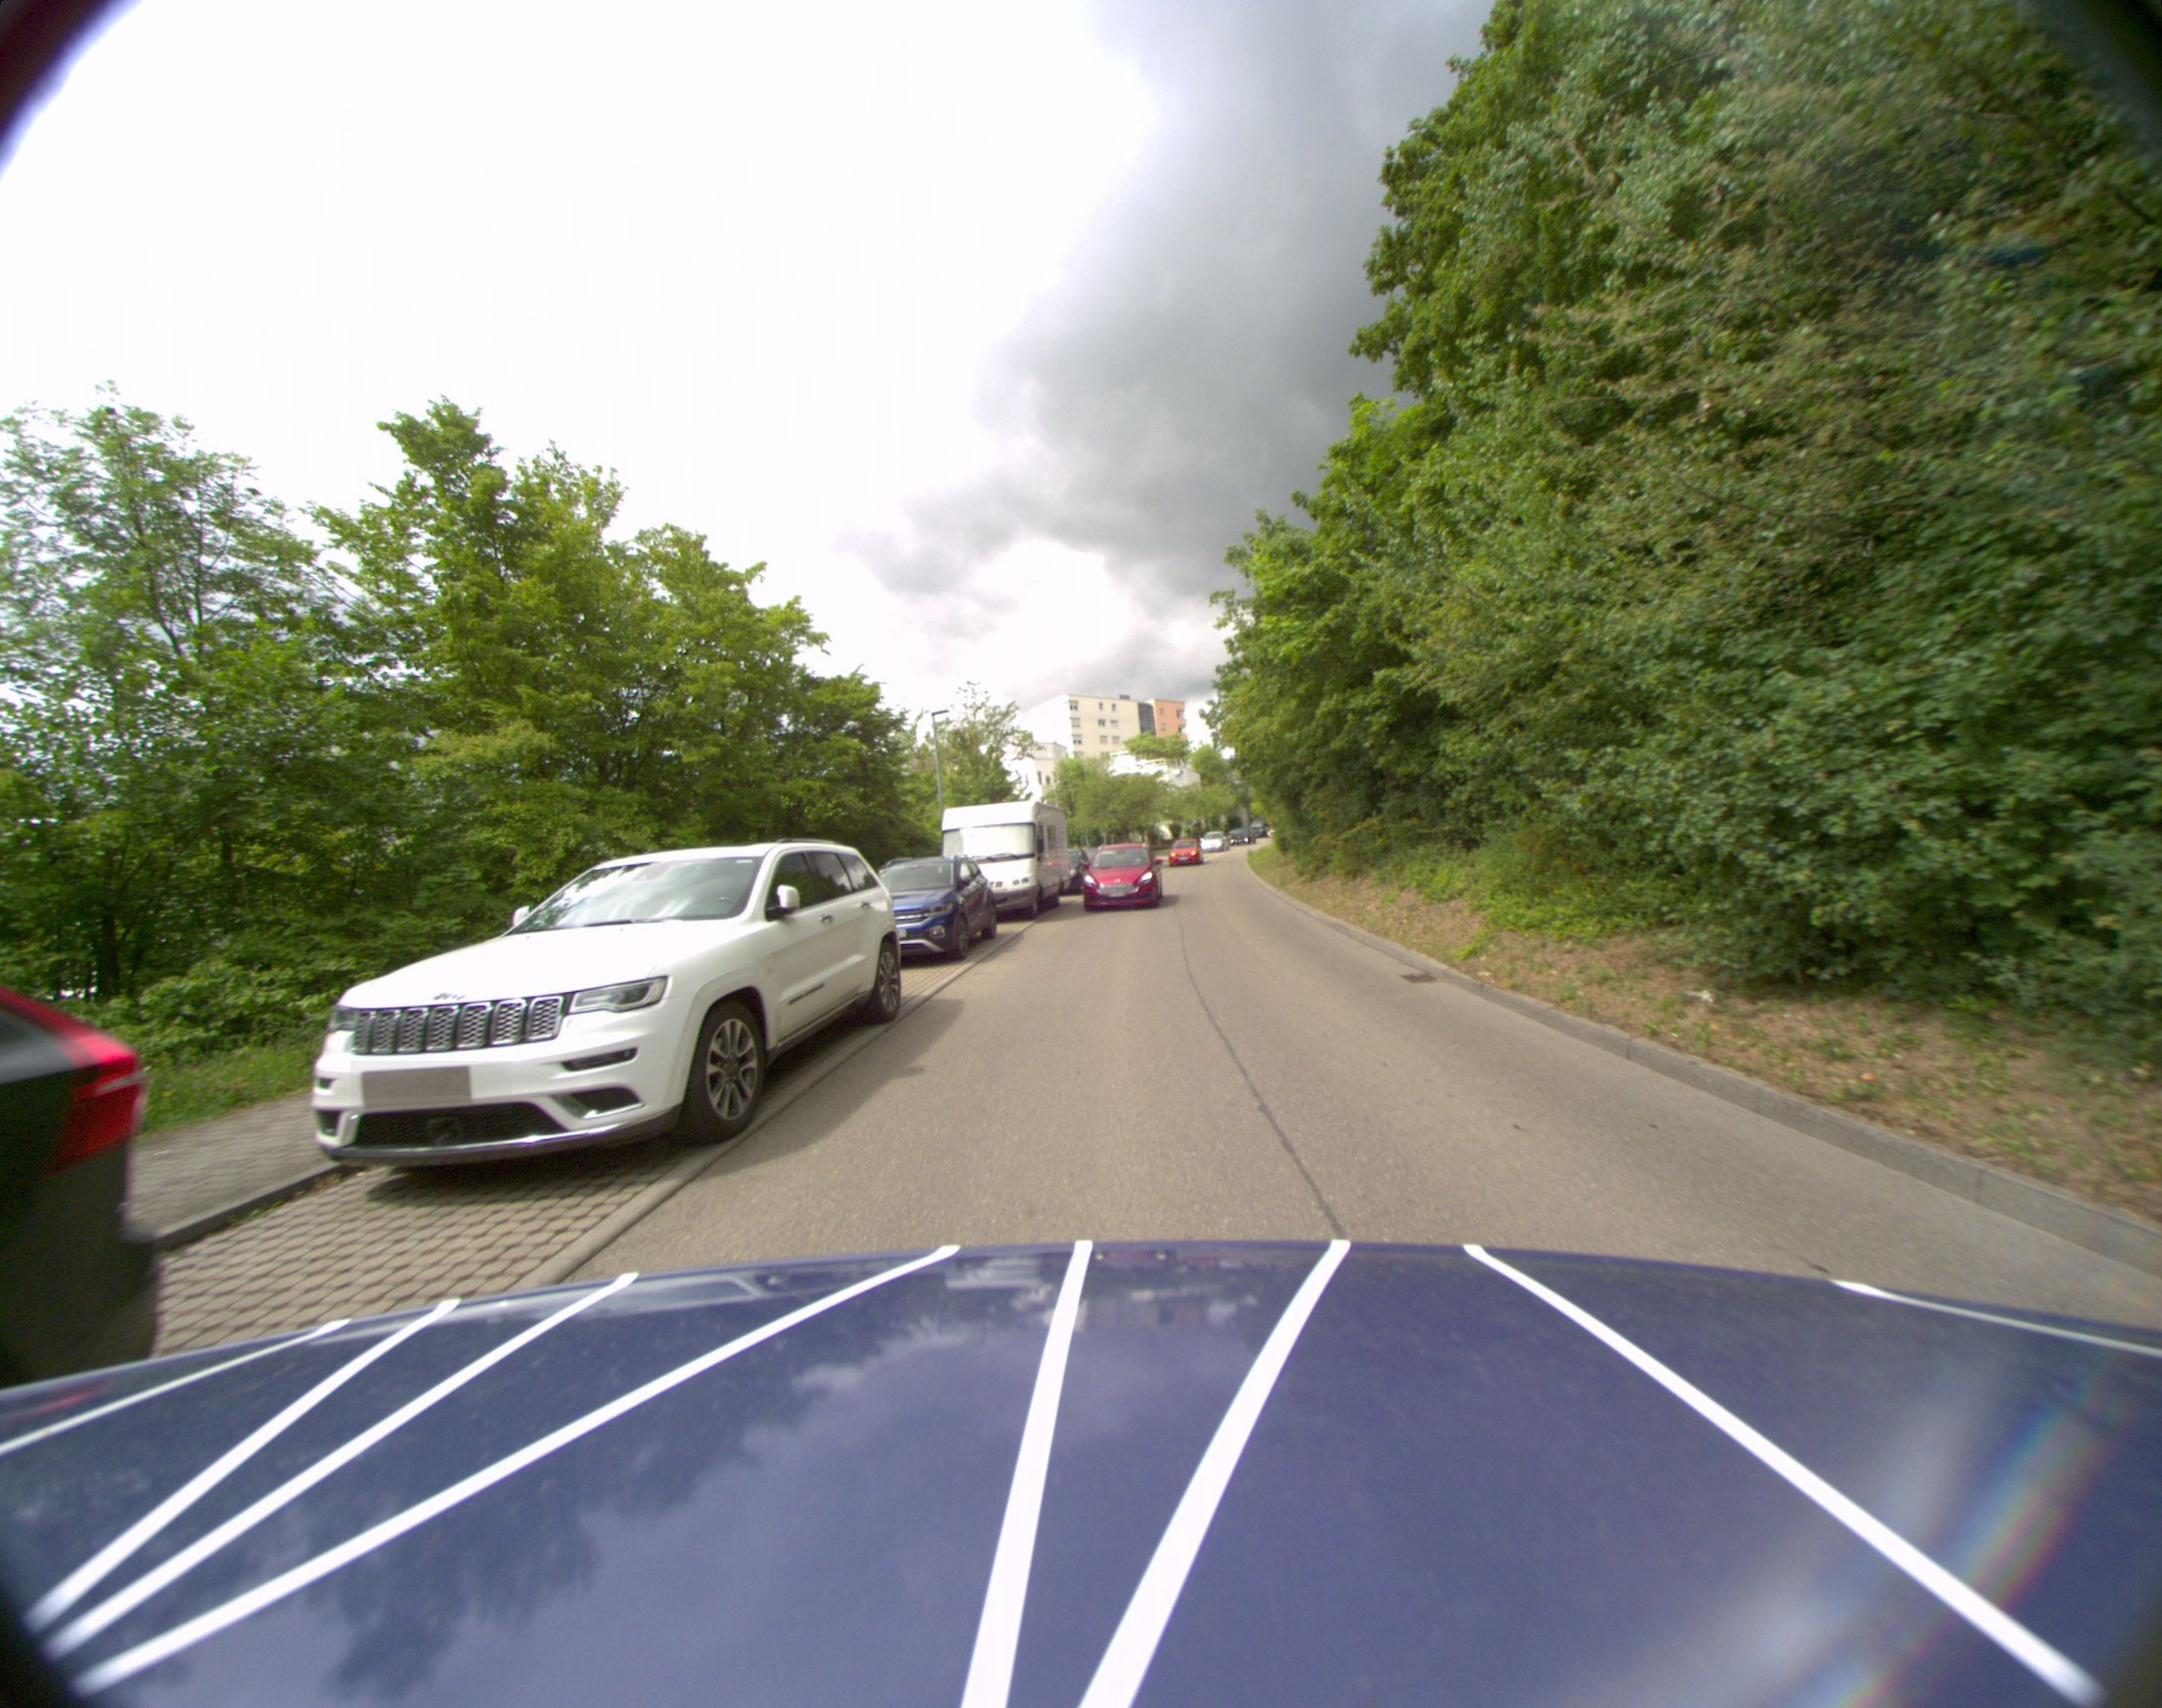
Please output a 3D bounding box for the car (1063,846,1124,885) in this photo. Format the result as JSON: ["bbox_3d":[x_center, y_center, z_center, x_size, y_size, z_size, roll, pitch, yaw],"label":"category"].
[{"bbox_3d":[0.623,0.446,33.591,1.779,1.426,4.336,-4,1,12],"label":"car"}]

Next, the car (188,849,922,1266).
[{"bbox_3d":[-2.800,0.891,5.603,1.876,1.679,4.580,-6,0,4],"label":"car"}]

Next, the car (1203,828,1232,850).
[{"bbox_3d":[11.014,-1.235,61.044,1.778,1.444,4.003,-5,2,16],"label":"car"}]

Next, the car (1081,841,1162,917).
[{"bbox_3d":[1.067,0.552,19.261,1.812,1.600,3.722,-2,2,4],"label":"car"}]

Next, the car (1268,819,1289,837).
[{"bbox_3d":[20.944,-2.723,80.588,1.755,1.652,4.124,-7,0,18],"label":"car"}]

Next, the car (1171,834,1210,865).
[{"bbox_3d":[6.190,-0.295,43.281,1.861,1.434,4.000,-6,2,5],"label":"car"}]

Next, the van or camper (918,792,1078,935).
[{"bbox_3d":[-1.805,0.148,19.339,2.337,2.852,6.152,-5,1,8],"label":"van or camper"}]

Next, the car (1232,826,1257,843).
[{"bbox_3d":[15.761,-1.880,72.953,1.778,1.412,4.004,-1,3,21],"label":"car"}]

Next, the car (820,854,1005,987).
[{"bbox_3d":[-2.479,0.904,12.254,1.714,1.582,4.001,-7,0,4],"label":"car"}]

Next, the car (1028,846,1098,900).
[{"bbox_3d":[-0.546,0.602,26.662,1.732,1.511,3.890,-4,2,8],"label":"car"}]
